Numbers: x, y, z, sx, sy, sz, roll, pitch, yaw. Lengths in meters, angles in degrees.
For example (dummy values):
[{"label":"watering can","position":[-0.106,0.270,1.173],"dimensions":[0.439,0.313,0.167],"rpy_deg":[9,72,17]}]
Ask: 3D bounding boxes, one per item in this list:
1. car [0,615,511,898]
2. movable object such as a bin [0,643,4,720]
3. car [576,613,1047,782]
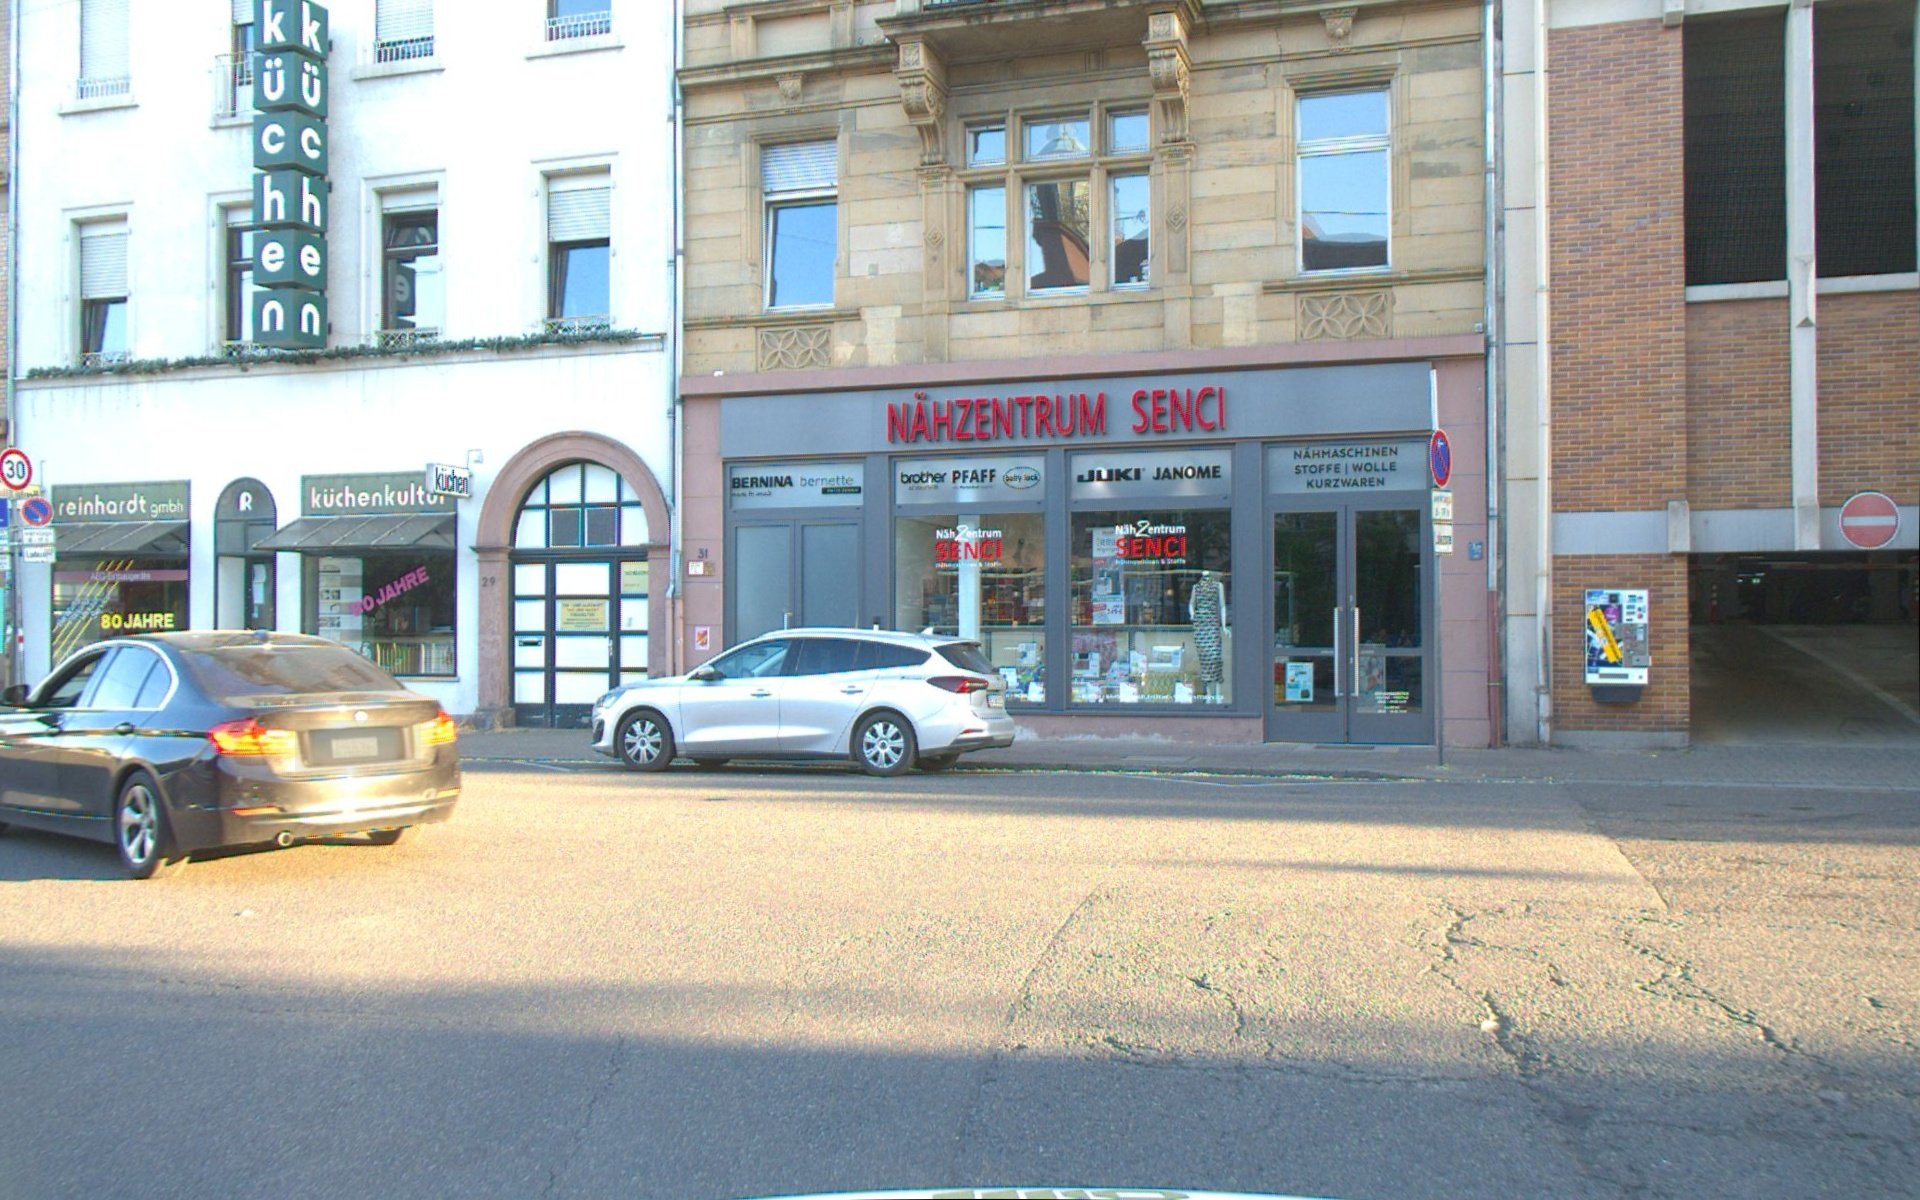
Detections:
[{"label":"car","position":[-5.000,0.907,10.962],"dimensions":[4.125,1.518,1.885],"rpy_deg":[-2,-2,39]},{"label":"movable object such as a bin","position":[-15.785,1.271,25.759],"dimensions":[1.364,1.207,0.869],"rpy_deg":[-1,-1,18]},{"label":"car","position":[-1.538,0.969,17.647],"dimensions":[4.568,1.562,2.001],"rpy_deg":[1,-1,17]}]
